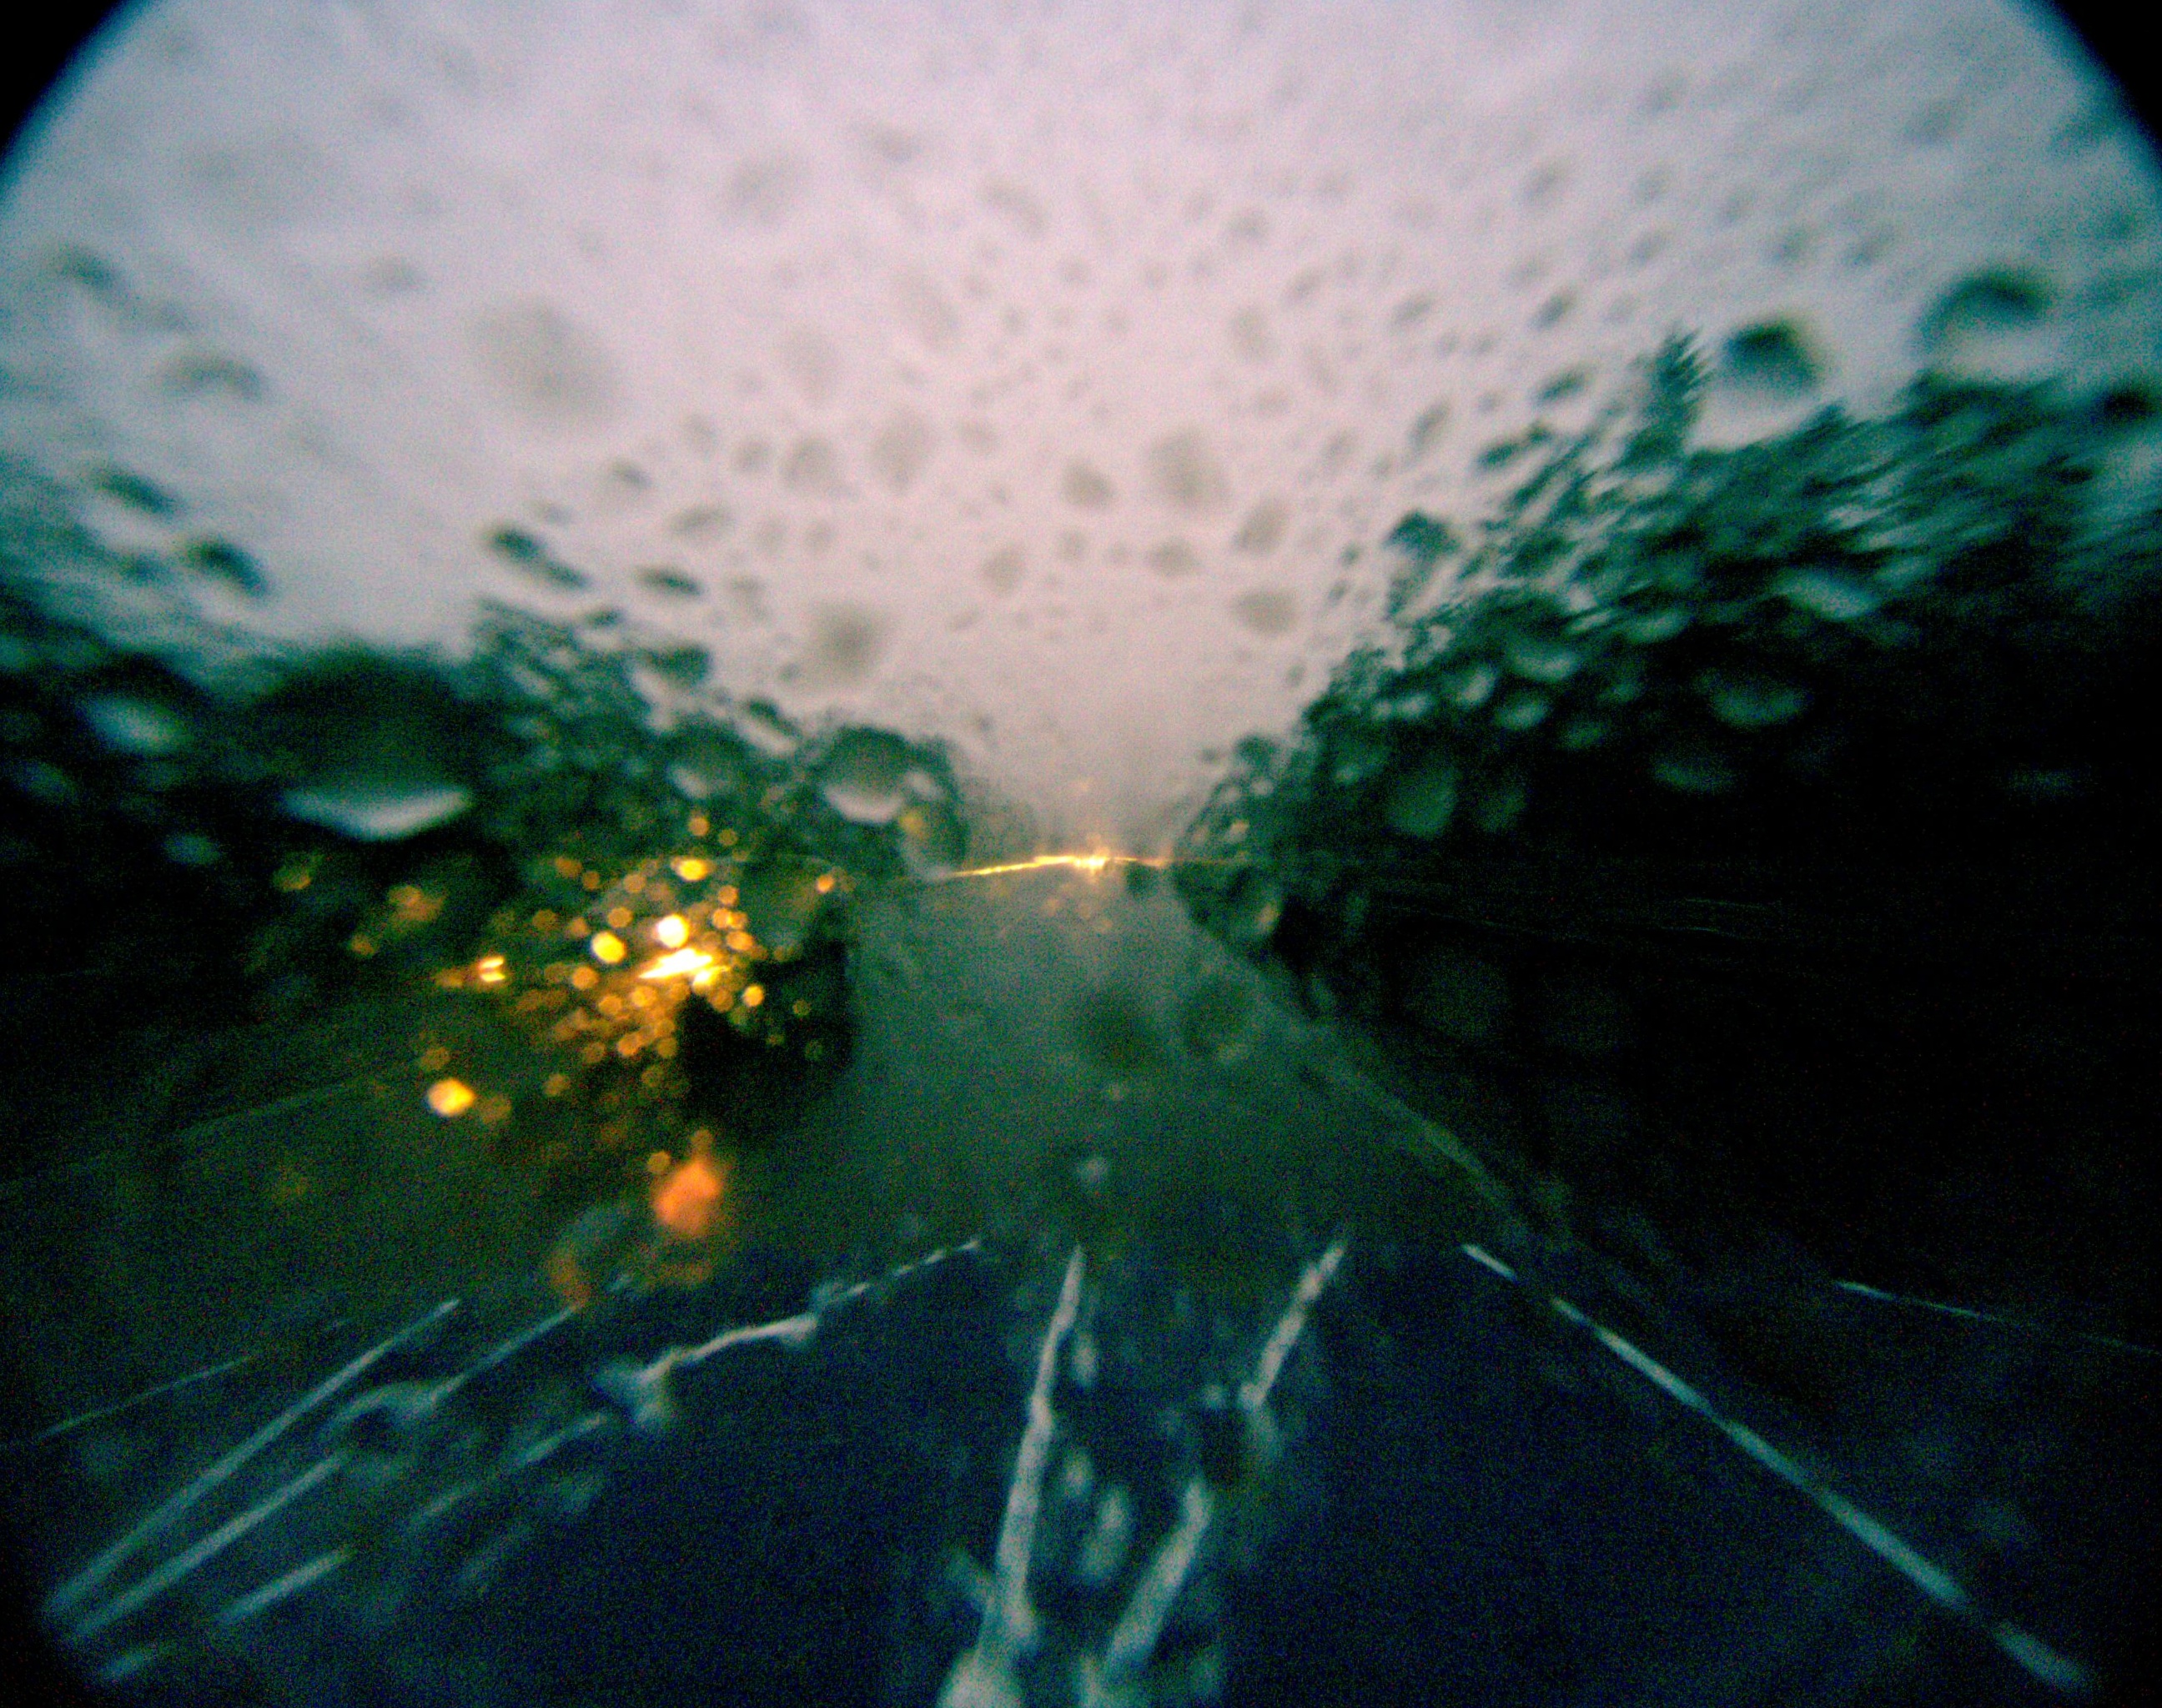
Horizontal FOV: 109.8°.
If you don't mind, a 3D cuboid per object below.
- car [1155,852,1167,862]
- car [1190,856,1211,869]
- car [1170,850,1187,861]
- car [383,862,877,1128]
[{"bbox_3d":[14.964,0.547,142.380,1.817,1.681,4.000,-2,0,1],"label":"car"},{"bbox_3d":[13.673,0.995,86.869,1.680,1.381,3.981,-2,0,-1],"label":"car"},{"bbox_3d":[14.213,0.199,110.865,1.798,1.432,4.042,-2,0,-1],"label":"car"},{"bbox_3d":[-3.658,0.986,7.389,2.075,1.688,4.461,-2,0,0],"label":"car"}]
